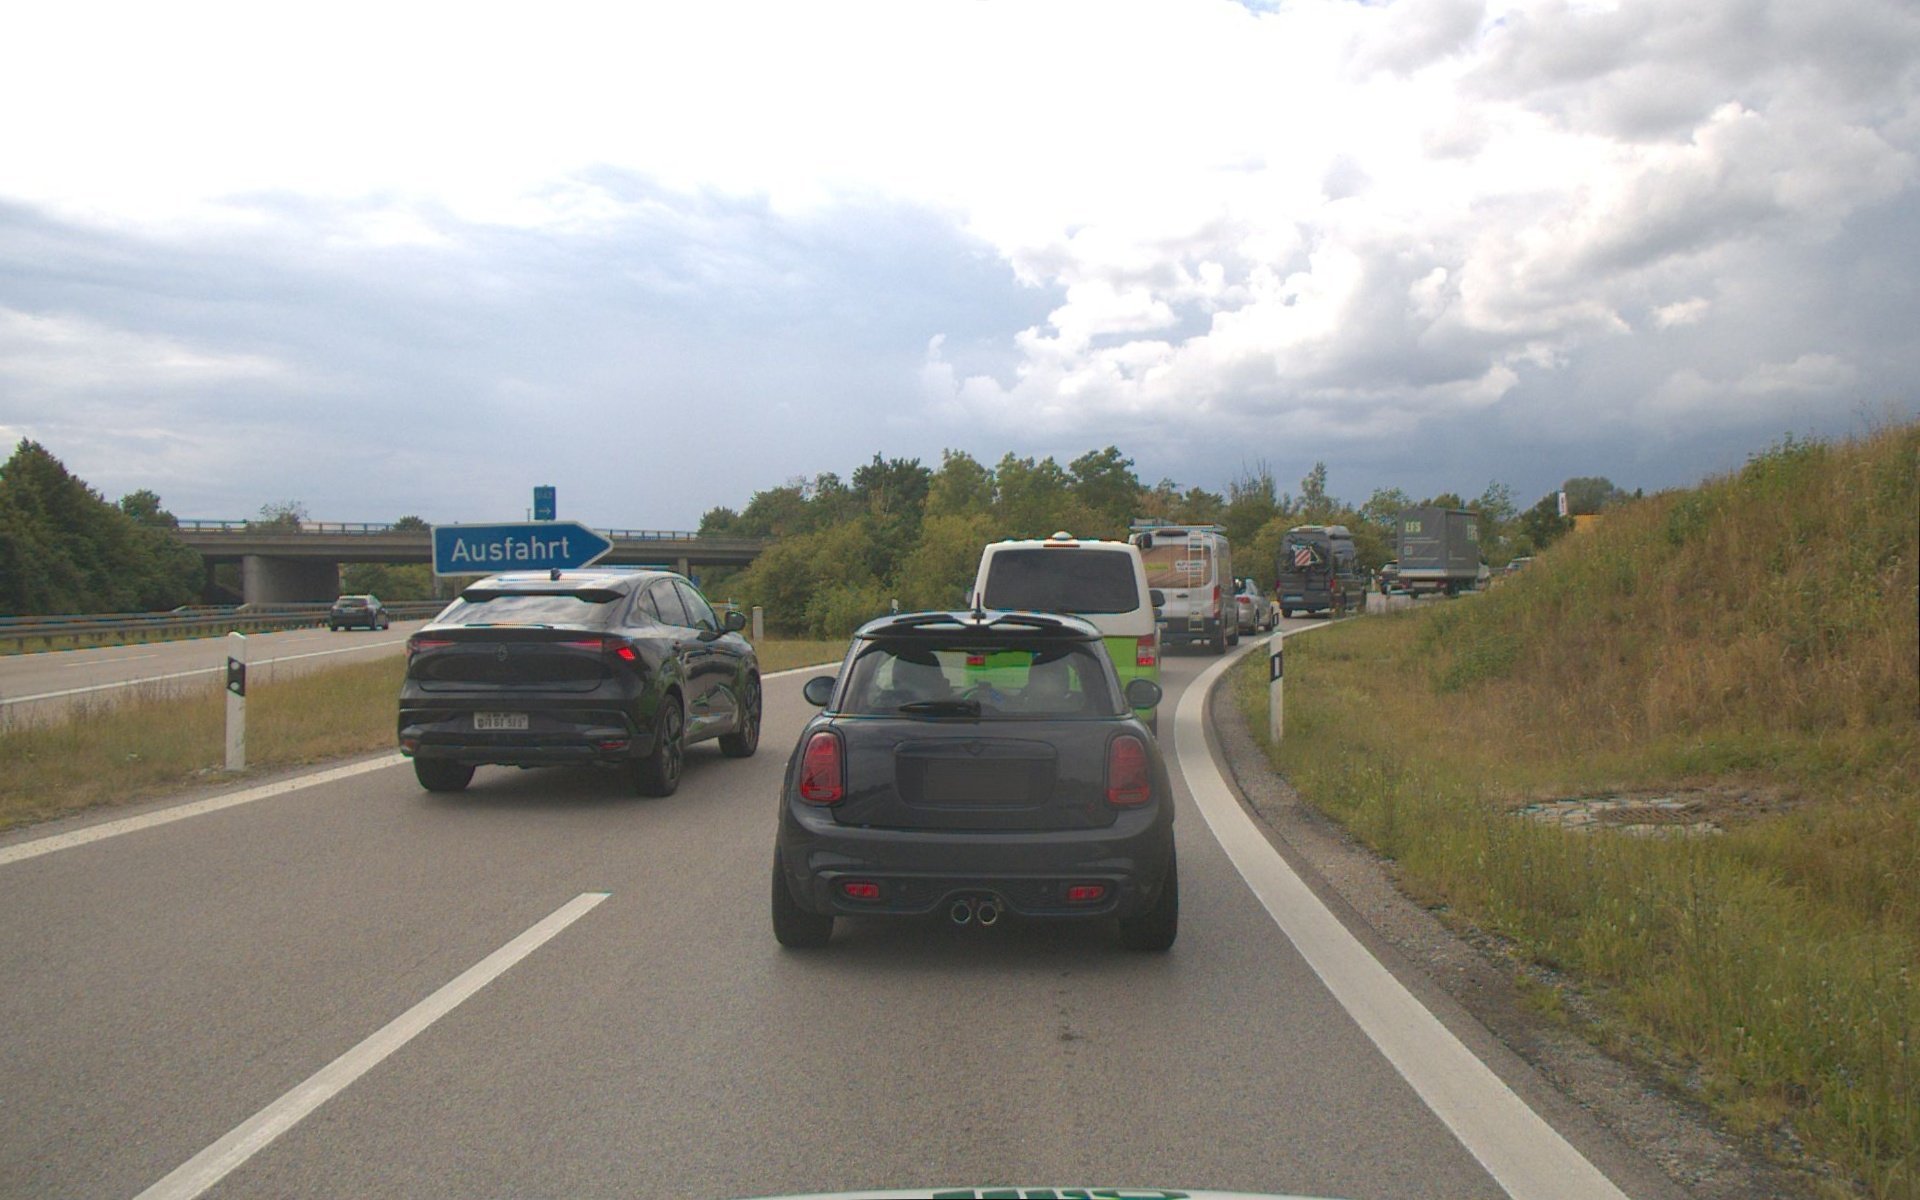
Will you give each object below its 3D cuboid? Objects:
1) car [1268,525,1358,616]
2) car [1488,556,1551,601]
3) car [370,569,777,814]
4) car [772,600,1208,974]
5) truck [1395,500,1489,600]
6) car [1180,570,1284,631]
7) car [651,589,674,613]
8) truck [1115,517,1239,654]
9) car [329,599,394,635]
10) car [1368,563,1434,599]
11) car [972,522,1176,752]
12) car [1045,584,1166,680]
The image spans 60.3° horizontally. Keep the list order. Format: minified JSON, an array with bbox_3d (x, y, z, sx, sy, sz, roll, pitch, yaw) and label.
[{"bbox_3d":[11.535,-0.946,53.918,2.063,2.845,3.998,1,1,24],"label":"car"},{"bbox_3d":[26.998,-1.011,79.686,1.958,2.049,3.989,0,-1,33],"label":"car"},{"bbox_3d":[-2.791,0.592,13.068,1.795,1.593,4.500,0,0,5],"label":"car"},{"bbox_3d":[0.093,0.730,8.306,1.692,1.438,3.724,0,0,-1],"label":"car"},{"bbox_3d":[20.494,-2.028,70.114,2.189,3.975,5.999,0,-1,33],"label":"truck"},{"bbox_3d":[7.247,-0.002,43.793,1.828,1.536,3.999,0,0,23],"label":"car"},{"bbox_3d":[-26.299,0.126,146.148,1.958,2.049,3.989,1,-1,-11],"label":"car"},{"bbox_3d":[4.723,-0.326,35.299,2.132,2.705,5.113,-1,1,13],"label":"truck"},{"bbox_3d":[-25.406,0.681,70.385,1.690,1.449,4.787,-1,0,-9],"label":"car"},{"bbox_3d":[20.344,-0.842,76.220,1.765,1.583,3.948,0,-1,34],"label":"car"},{"bbox_3d":[1.274,0.316,16.805,1.746,2.049,4.003,0,0,9],"label":"car"},{"bbox_3d":[2.382,0.468,26.364,1.724,1.423,3.728,-1,0,8],"label":"car"}]
